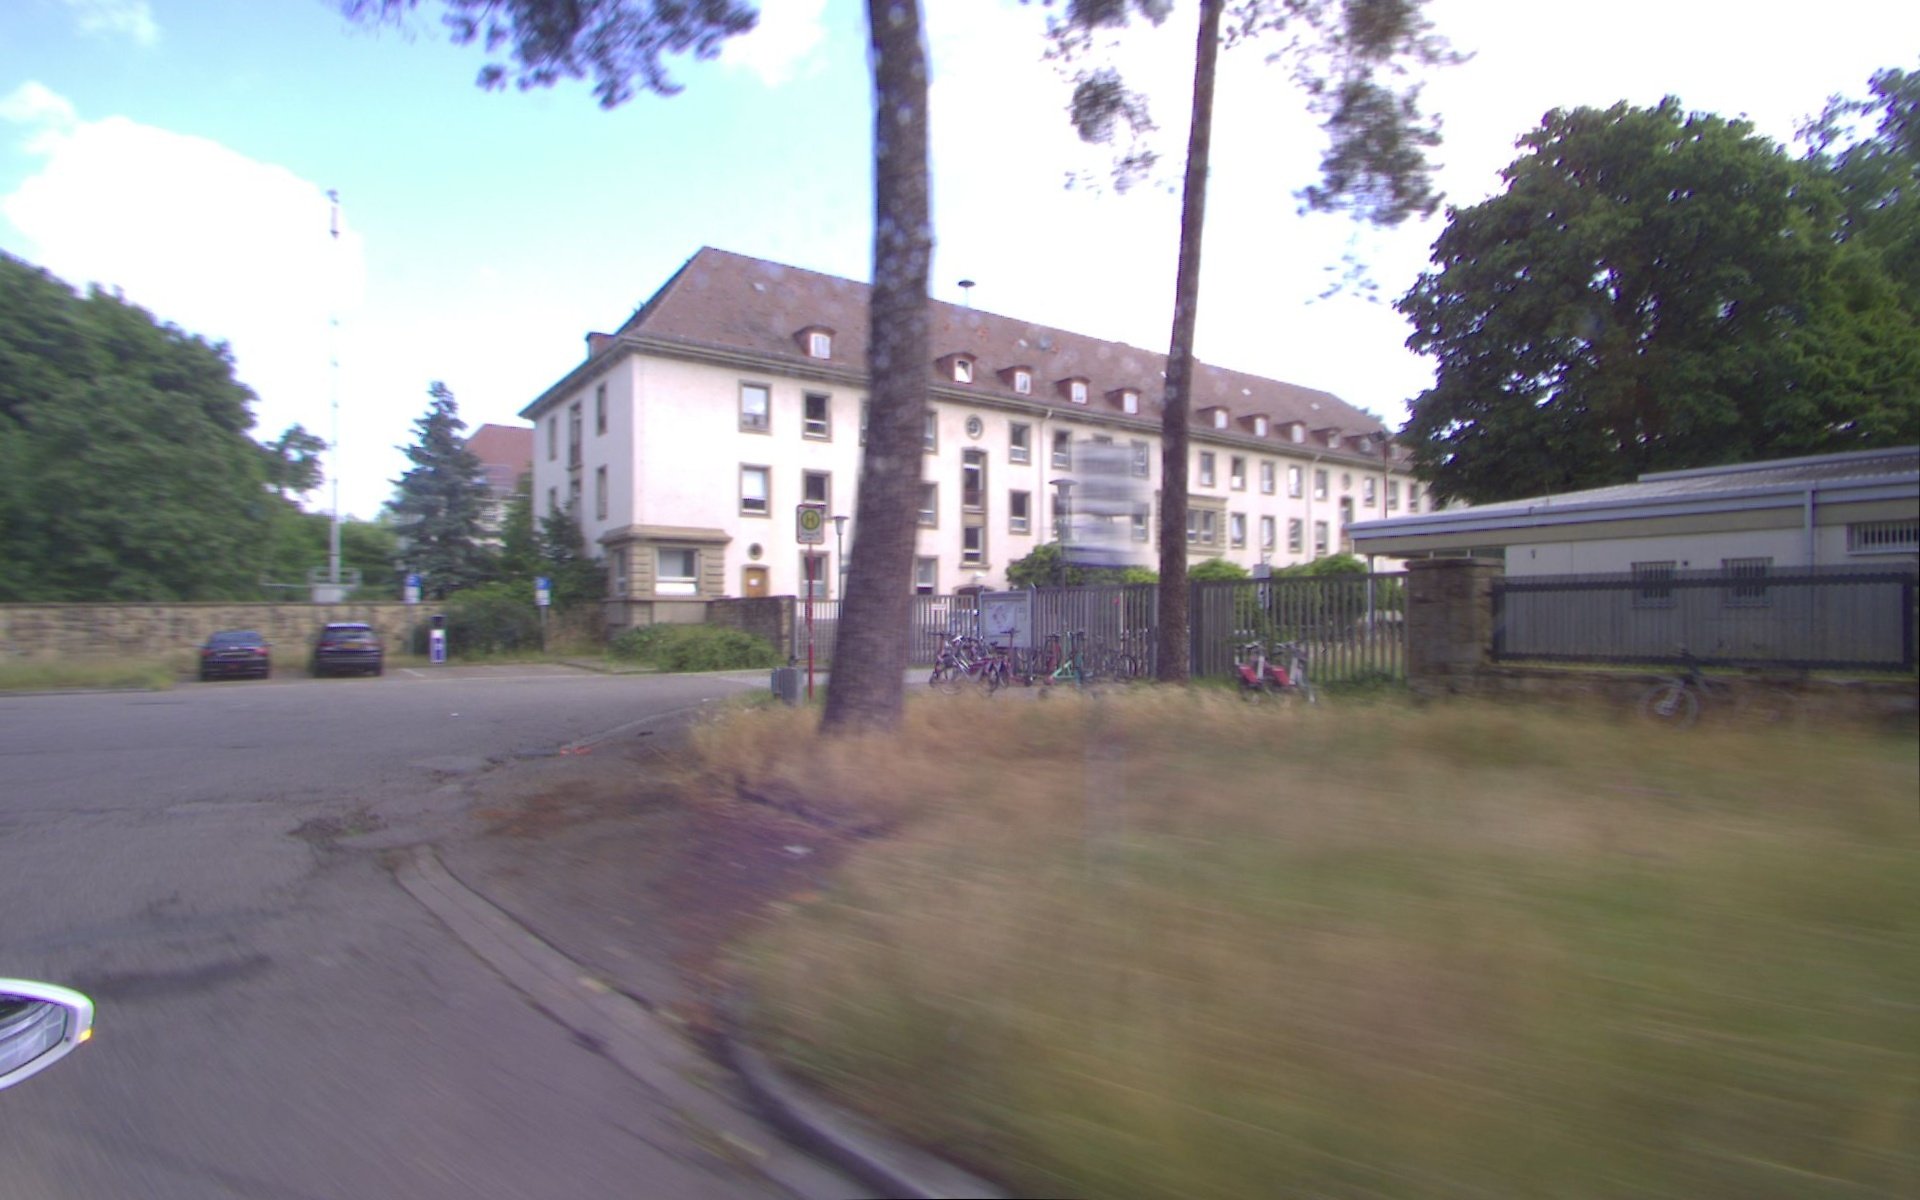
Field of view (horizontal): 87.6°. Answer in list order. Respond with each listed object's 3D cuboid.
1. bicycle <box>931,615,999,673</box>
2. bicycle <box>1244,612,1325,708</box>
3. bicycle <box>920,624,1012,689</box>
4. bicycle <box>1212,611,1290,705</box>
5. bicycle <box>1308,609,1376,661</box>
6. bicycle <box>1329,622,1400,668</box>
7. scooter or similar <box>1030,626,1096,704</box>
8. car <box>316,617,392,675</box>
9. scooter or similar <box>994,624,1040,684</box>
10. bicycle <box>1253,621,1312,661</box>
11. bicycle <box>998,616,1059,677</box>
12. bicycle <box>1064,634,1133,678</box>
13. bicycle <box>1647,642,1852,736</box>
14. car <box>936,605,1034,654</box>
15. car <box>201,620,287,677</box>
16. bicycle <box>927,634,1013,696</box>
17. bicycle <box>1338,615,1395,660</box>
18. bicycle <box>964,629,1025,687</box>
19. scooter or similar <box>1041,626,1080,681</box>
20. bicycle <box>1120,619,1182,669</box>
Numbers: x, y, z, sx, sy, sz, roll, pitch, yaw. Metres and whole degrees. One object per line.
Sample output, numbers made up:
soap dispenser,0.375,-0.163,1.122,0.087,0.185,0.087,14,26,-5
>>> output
bicycle,0.102,1.034,23.607,0.665,1.294,1.726,0,-2,-39
bicycle,5.227,0.920,16.064,0.571,1.436,1.968,0,0,38
bicycle,0.100,1.126,20.484,0.628,1.256,2.157,-1,-1,-40
bicycle,4.823,0.914,16.522,0.581,1.436,1.785,-1,1,38
bicycle,9.105,0.839,23.848,1.697,1.185,0.435,2,-2,-24
bicycle,10.248,1.141,25.396,1.621,1.133,0.436,1,-2,9
scooter or similar,1.699,1.075,16.564,0.434,1.243,1.081,1,-3,-40
car,-18.846,1.372,31.070,1.874,1.567,3.974,0,1,-33
scooter or similar,1.232,1.151,21.775,0.380,1.262,1.278,0,-1,-29
bicycle,9.108,1.148,28.229,1.692,1.086,0.727,0,-1,-36
bicycle,1.662,1.126,24.583,0.508,1.435,1.897,1,-2,-30
bicycle,3.240,1.292,23.594,0.451,0.980,1.939,0,-1,-34
bicycle,9.580,1.042,12.237,0.369,1.029,1.939,-1,-1,-36
car,1.045,1.252,43.971,1.837,1.775,4.411,0,3,-39
car,-21.349,1.391,29.976,1.854,1.461,3.975,0,1,-33
bicycle,0.171,1.186,18.598,0.732,1.098,1.670,2,-2,-37
bicycle,10.824,1.001,26.681,0.431,1.185,1.386,2,-2,-35
bicycle,0.725,1.211,21.317,0.613,1.177,1.605,-2,-1,-25
scooter or similar,2.237,1.171,22.220,0.431,1.165,1.247,0,0,26
bicycle,4.840,1.105,25.365,1.694,1.186,0.499,-1,0,-37
